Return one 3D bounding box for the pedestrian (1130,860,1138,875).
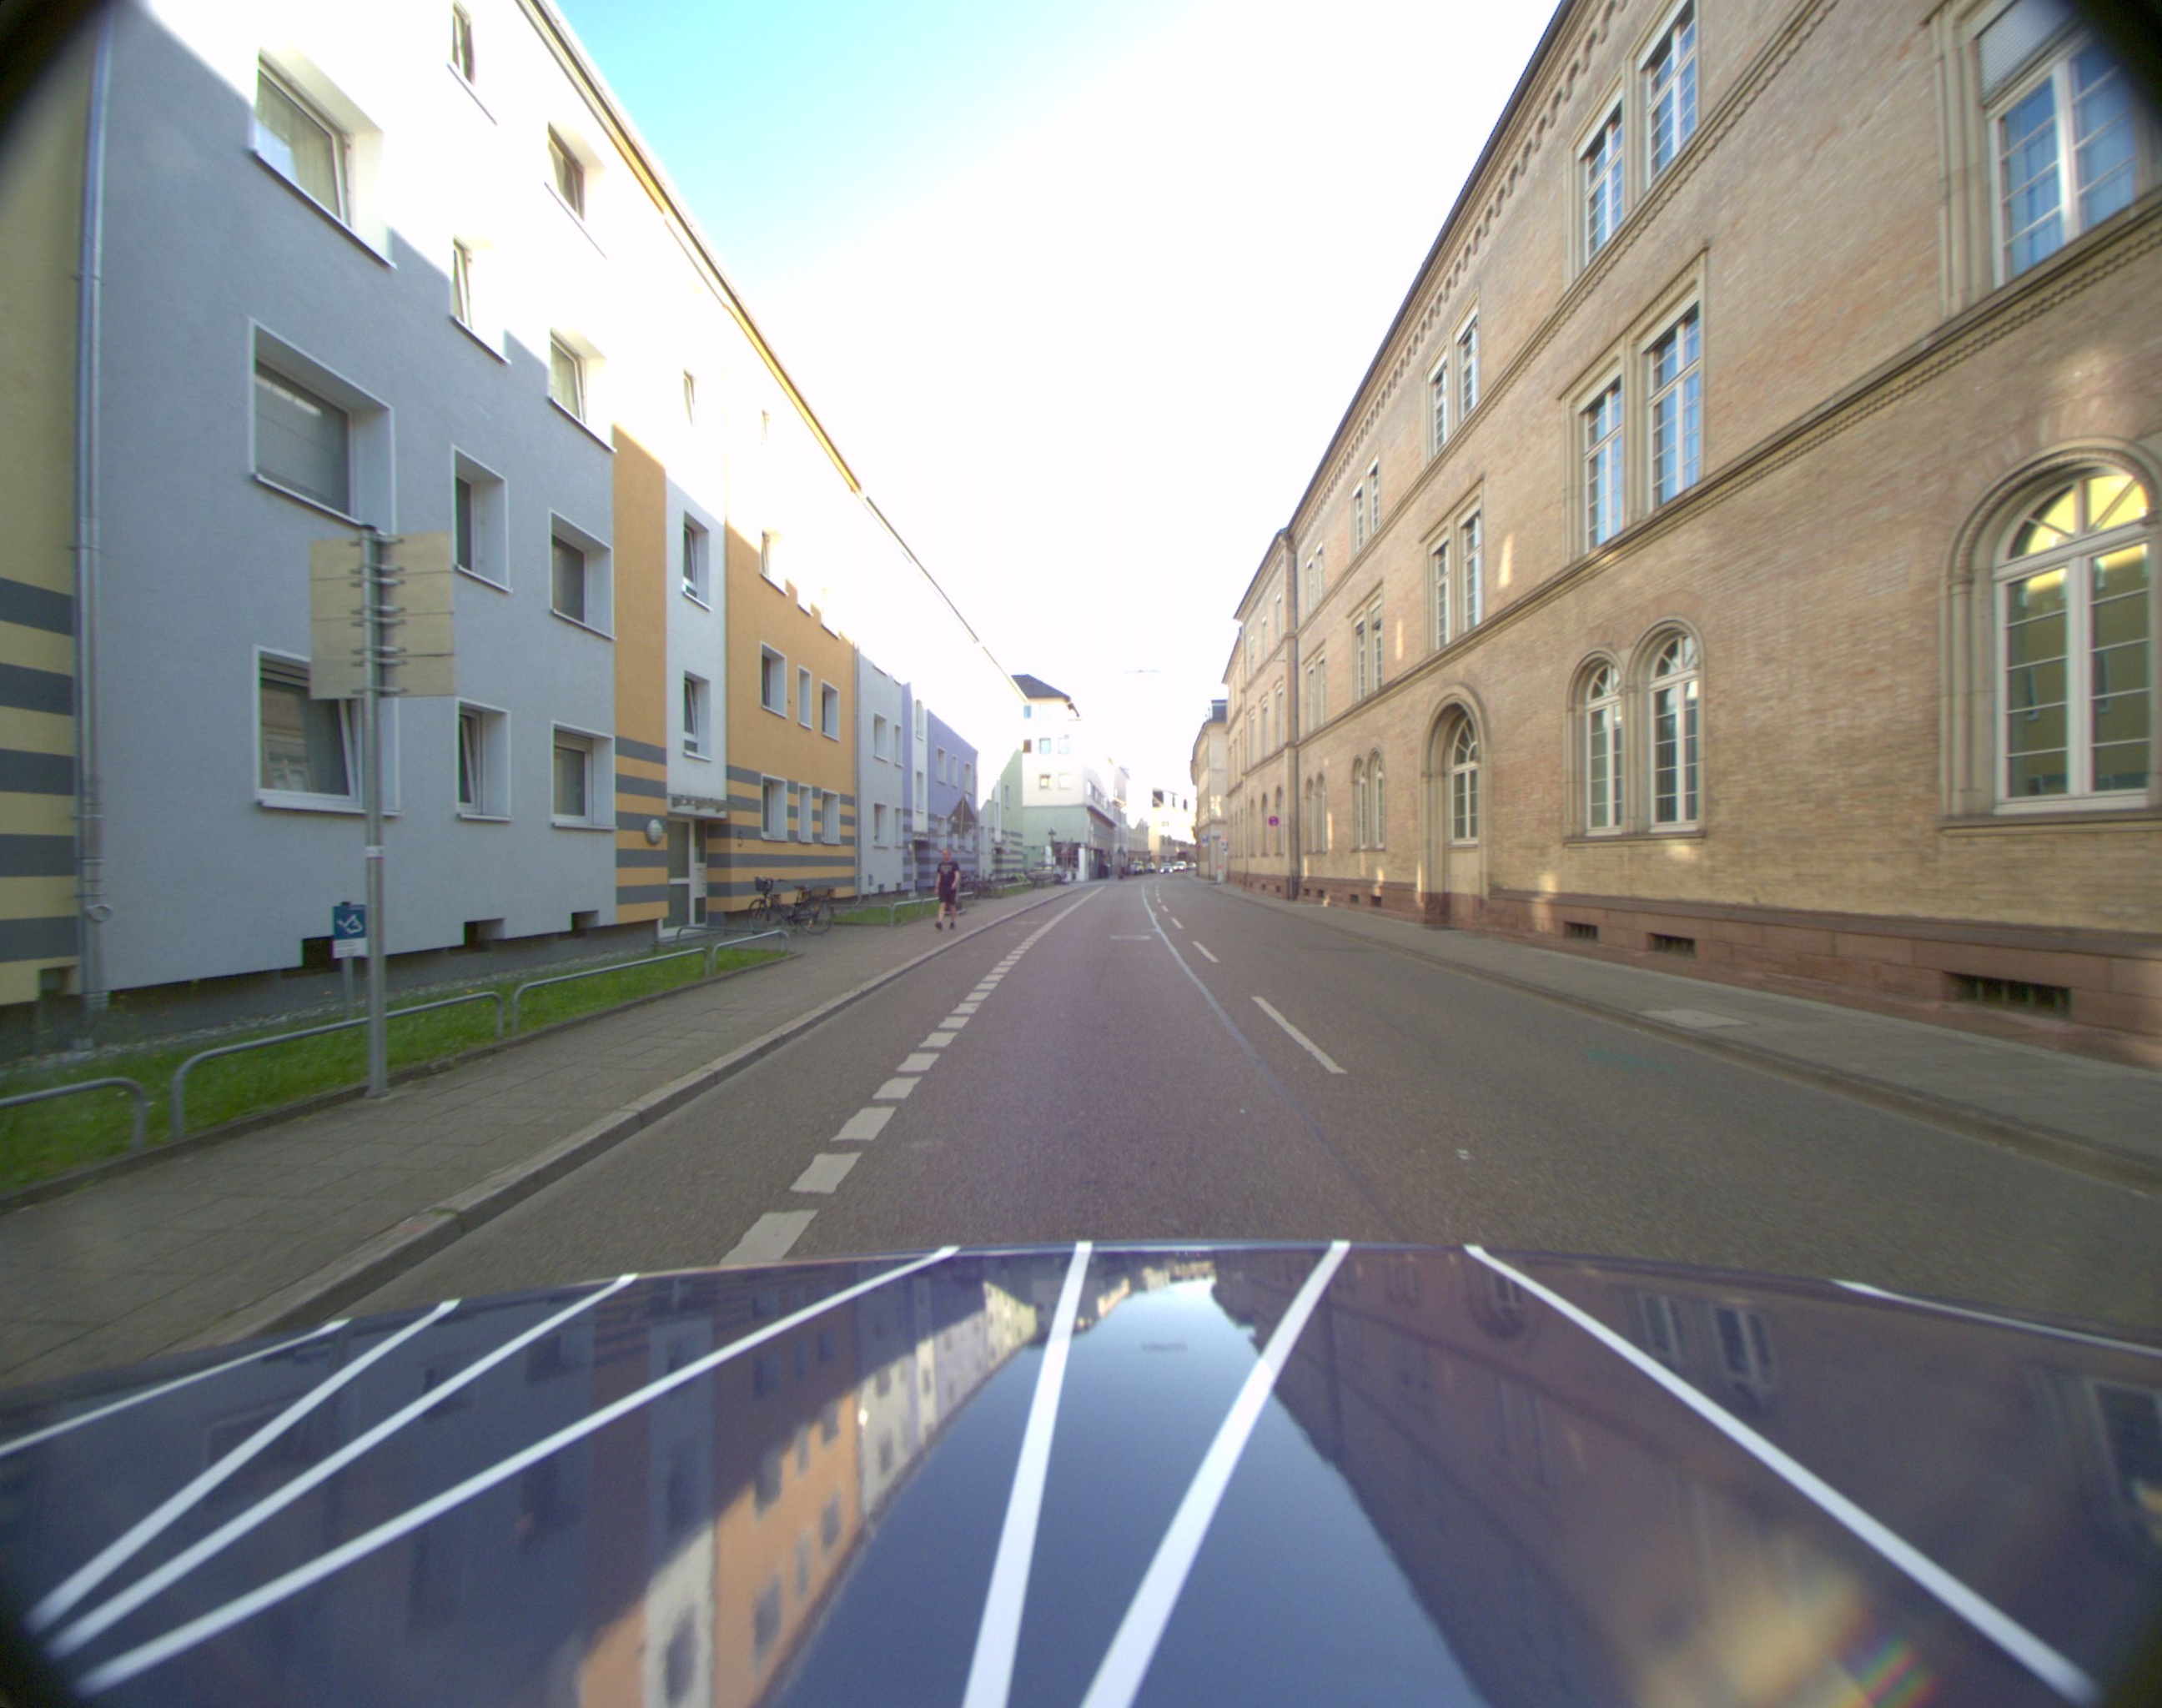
[{"bbox_3d":[5.249,1.343,75.147,0.660,1.509,0.709,-1,0,14],"label":"pedestrian"}]

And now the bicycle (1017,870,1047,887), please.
[{"bbox_3d":[-2.915,1.480,45.179,1.711,0.972,0.516,1,0,-2],"label":"bicycle"}]

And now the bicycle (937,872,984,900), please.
[{"bbox_3d":[-4.653,1.242,29.429,1.710,1.039,0.636,1,0,1],"label":"bicycle"}]

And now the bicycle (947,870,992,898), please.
[{"bbox_3d":[-4.469,1.202,30.575,1.710,1.075,0.636,1,0,0],"label":"bicycle"}]

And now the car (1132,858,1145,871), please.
[{"bbox_3d":[7.829,1.377,103.815,1.535,1.714,3.741,0,0,7],"label":"car"}]

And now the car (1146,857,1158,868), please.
[{"bbox_3d":[11.176,1.396,119.899,1.535,1.714,3.742,0,0,12],"label":"car"}]

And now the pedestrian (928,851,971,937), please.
[{"bbox_3d":[-2.841,0.839,16.470,0.646,1.778,0.916,3,0,3],"label":"pedestrian"}]

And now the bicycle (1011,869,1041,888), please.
[{"bbox_3d":[-3.141,1.412,43.716,1.711,1.097,0.584,1,0,-2],"label":"bicycle"}]

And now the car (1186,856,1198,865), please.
[{"bbox_3d":[23.628,1.370,161.336,1.925,1.714,4.236,0,0,18],"label":"car"}]

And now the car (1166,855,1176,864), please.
[{"bbox_3d":[17.385,1.138,146.686,1.534,1.714,3.743,0,0,15],"label":"car"}]

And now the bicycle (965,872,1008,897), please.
[{"bbox_3d":[-3.883,1.255,31.346,1.711,1.029,0.636,1,0,-2],"label":"bicycle"}]

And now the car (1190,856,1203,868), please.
[{"bbox_3d":[17.966,1.226,118.354,1.663,1.714,3.743,0,0,13],"label":"car"}]

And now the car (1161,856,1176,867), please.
[{"bbox_3d":[13.826,1.236,119.481,1.860,1.714,3.743,0,0,14],"label":"car"}]

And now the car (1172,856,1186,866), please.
[{"bbox_3d":[17.619,1.283,136.467,1.921,1.712,4.966,-1,0,15],"label":"car"}]

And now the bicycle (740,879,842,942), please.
[{"bbox_3d":[-5.566,1.080,14.662,1.711,1.152,0.636,1,0,-2],"label":"bicycle"}]

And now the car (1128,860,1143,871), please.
[{"bbox_3d":[7.083,1.471,98.527,1.634,1.405,3.687,0,0,7],"label":"car"}]
